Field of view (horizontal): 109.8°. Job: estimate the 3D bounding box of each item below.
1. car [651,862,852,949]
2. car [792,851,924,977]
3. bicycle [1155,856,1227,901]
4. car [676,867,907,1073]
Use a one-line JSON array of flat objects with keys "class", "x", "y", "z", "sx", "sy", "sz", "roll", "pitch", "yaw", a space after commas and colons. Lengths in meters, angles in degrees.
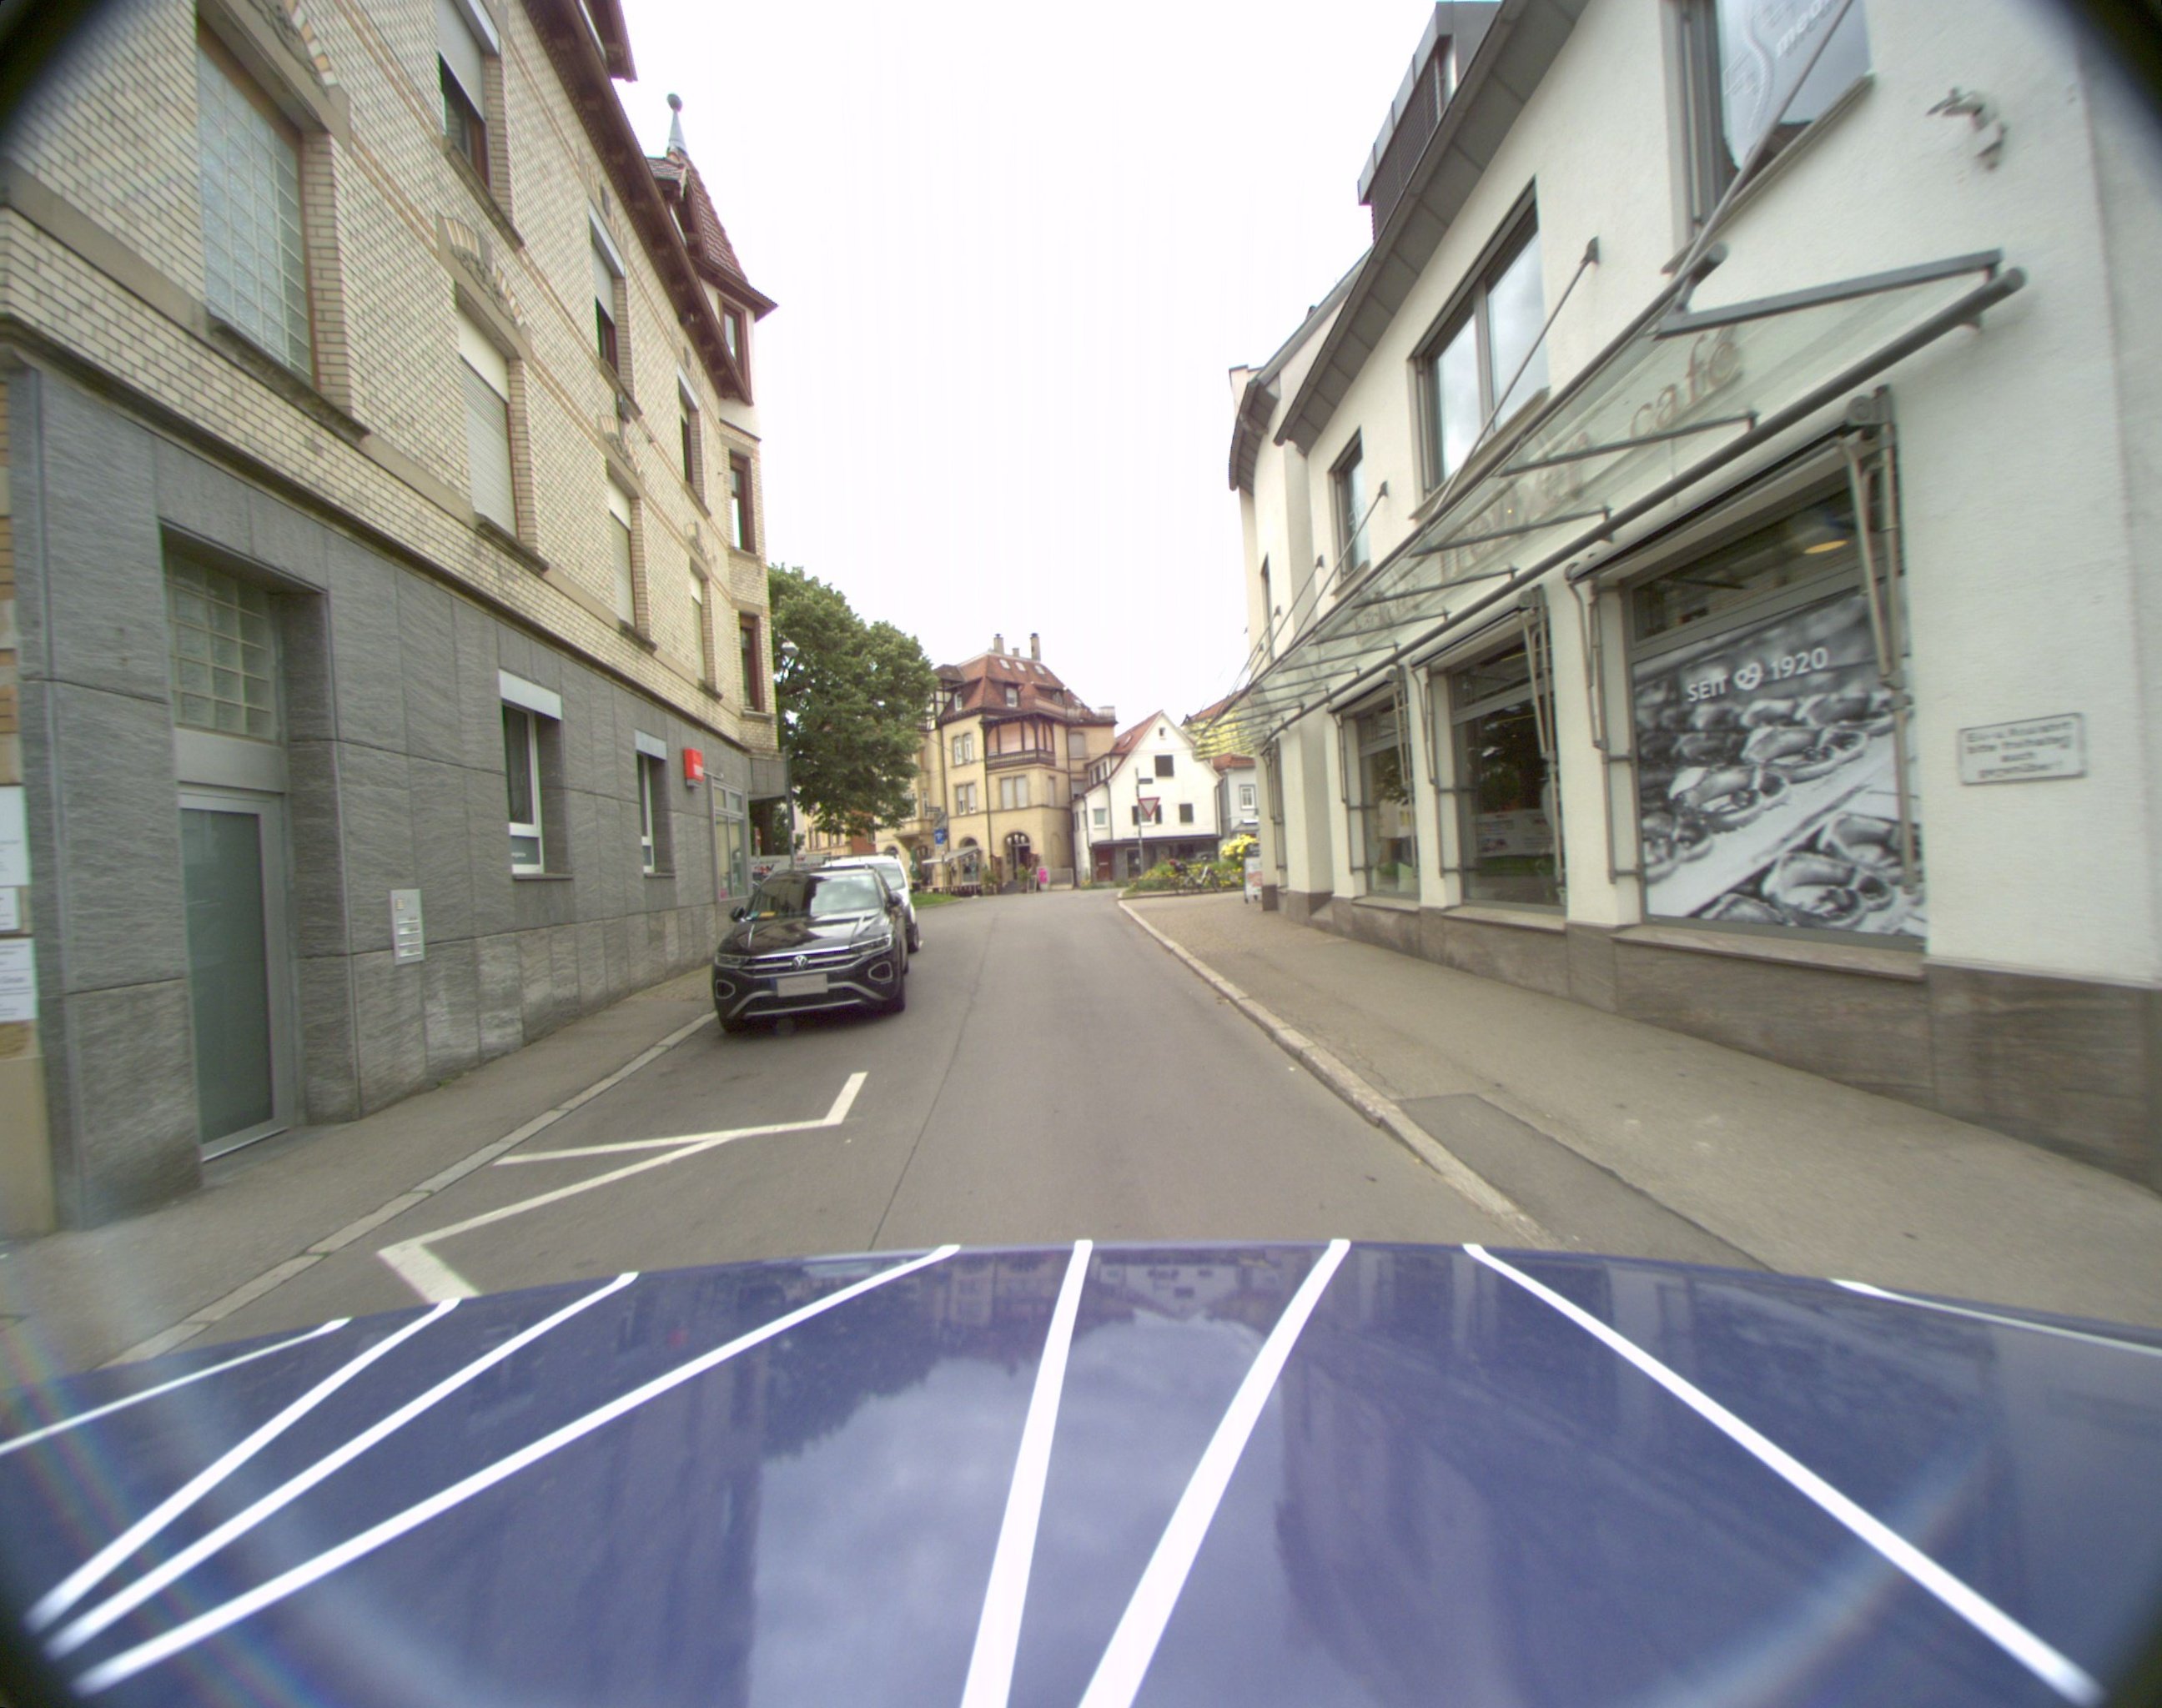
[{"class": "car", "x": -7.850, "y": 1.222, "z": 18.228, "sx": 4.015, "sy": 1.694, "sz": 1.864, "roll": -4, "pitch": 1, "yaw": 15}, {"class": "car", "x": -3.926, "y": 0.944, "z": 13.719, "sx": 1.832, "sy": 1.782, "sz": 4.214, "roll": -4, "pitch": 0, "yaw": -14}, {"class": "bicycle", "x": 3.388, "y": 0.747, "z": 23.437, "sx": 1.981, "sy": 1.232, "sz": 0.743, "roll": -4, "pitch": -1, "yaw": -19}, {"class": "car", "x": -3.023, "y": 1.027, "z": 8.885, "sx": 1.794, "sy": 1.591, "sz": 4.537, "roll": -4, "pitch": 1, "yaw": -13}]
